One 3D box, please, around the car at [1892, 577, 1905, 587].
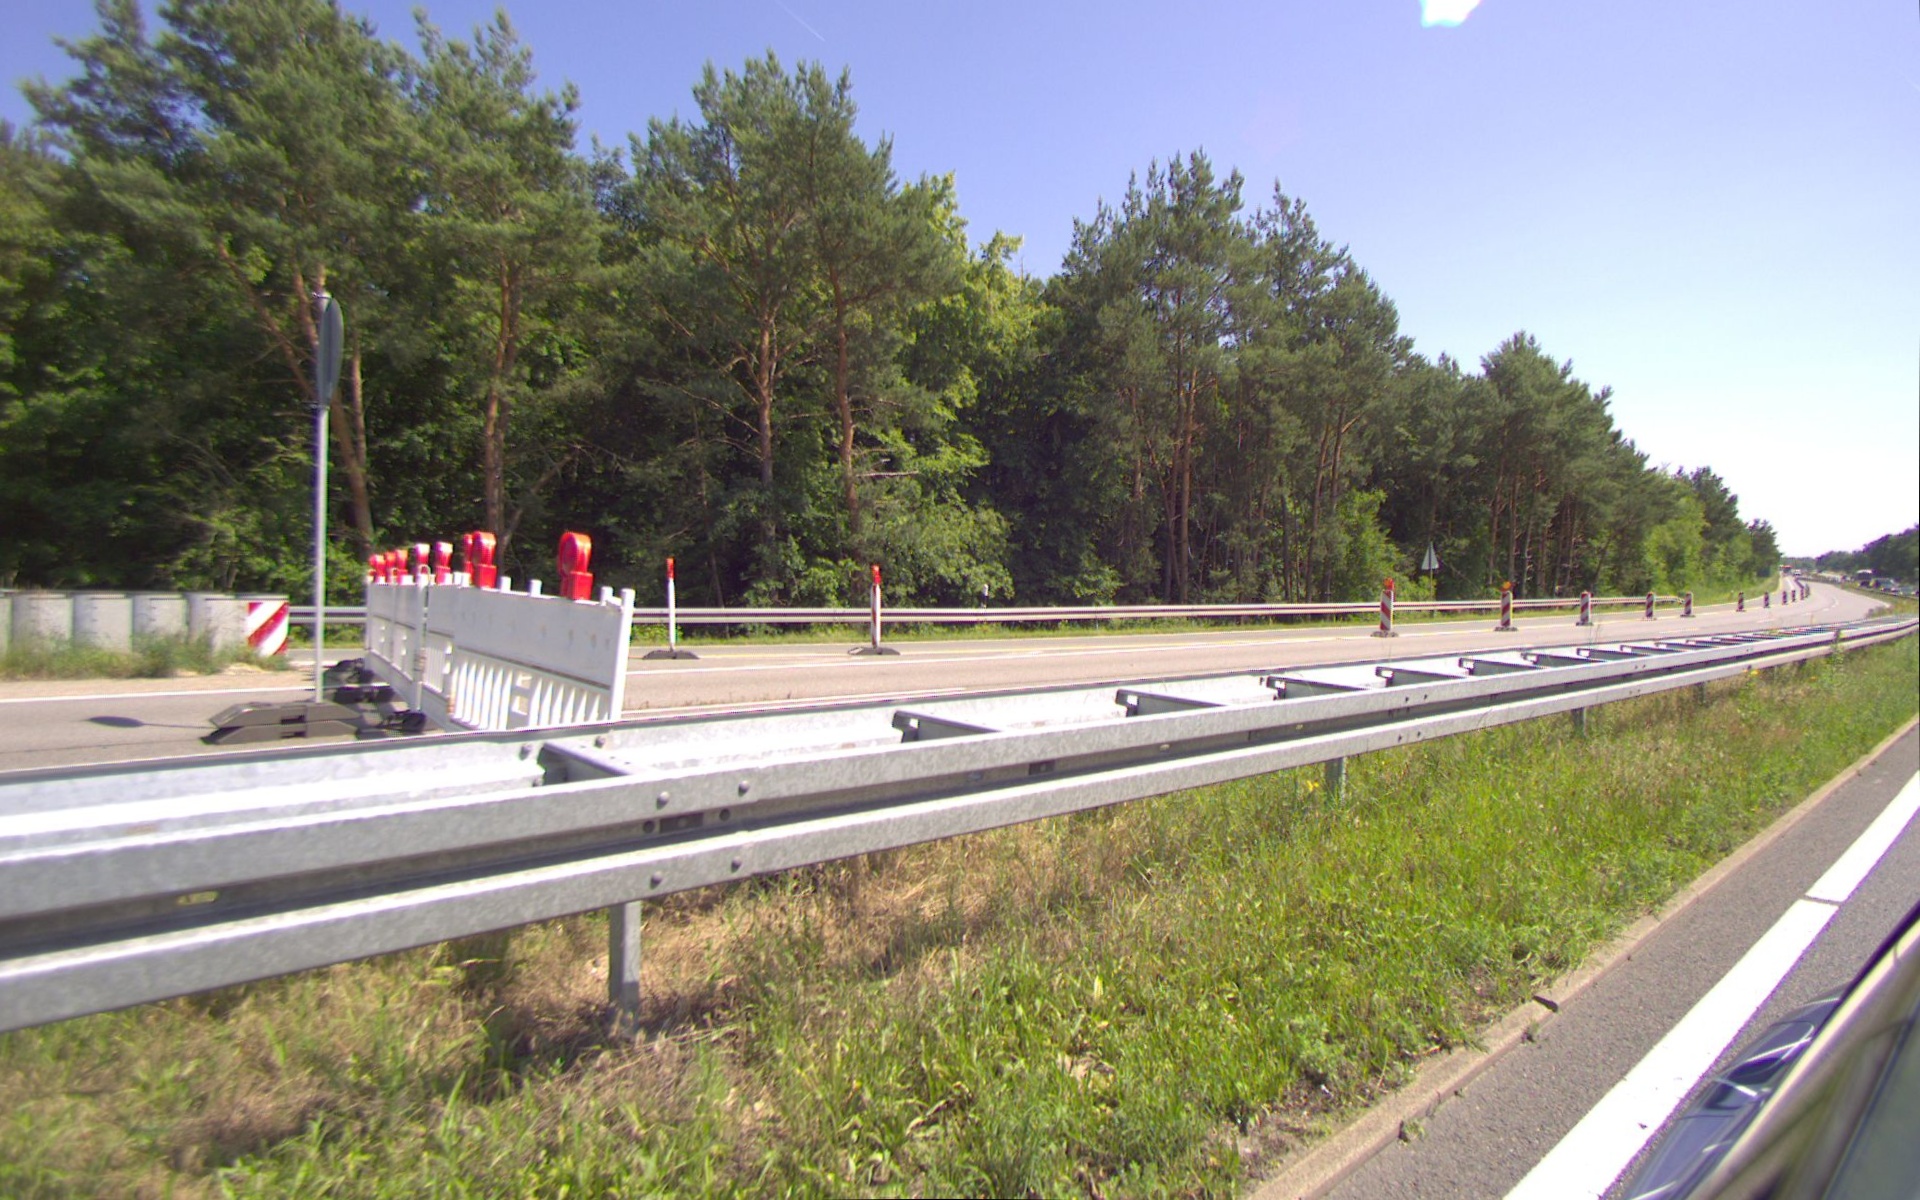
[{"bbox_3d":[160.052,-3.007,172.522,1.522,1.677,3.920,2,1,42],"label":"car"}]
